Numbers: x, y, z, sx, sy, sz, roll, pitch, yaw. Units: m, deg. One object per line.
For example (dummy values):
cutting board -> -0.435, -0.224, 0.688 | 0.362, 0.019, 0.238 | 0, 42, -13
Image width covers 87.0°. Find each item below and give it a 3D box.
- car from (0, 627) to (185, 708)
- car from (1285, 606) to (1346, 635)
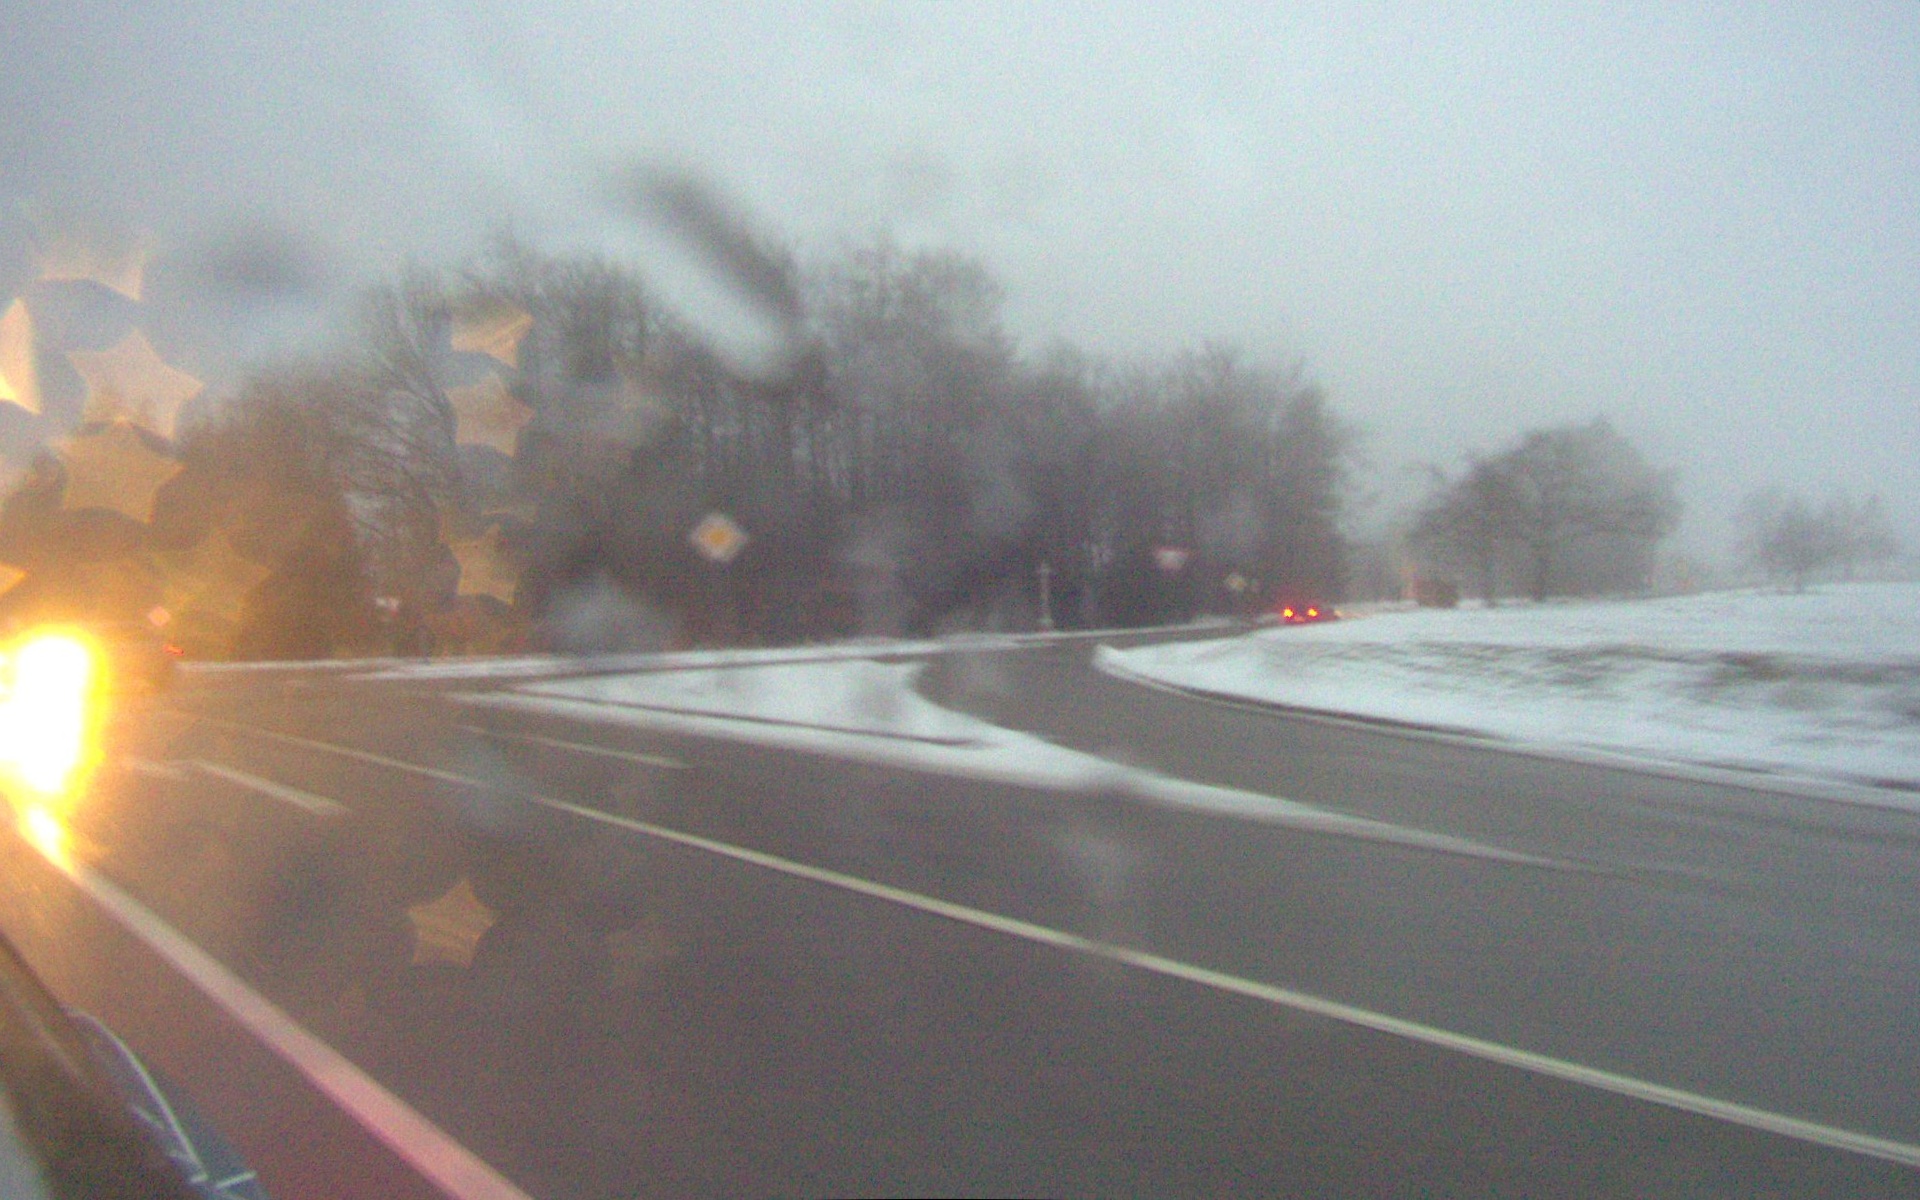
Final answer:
car -> -17.549, 1.286, 20.077 | 1.701, 1.445, 3.679 | -2, -2, -3
car -> 18.536, 1.068, 52.722 | 3.361, 1.463, 1.578 | 0, -3, -43
